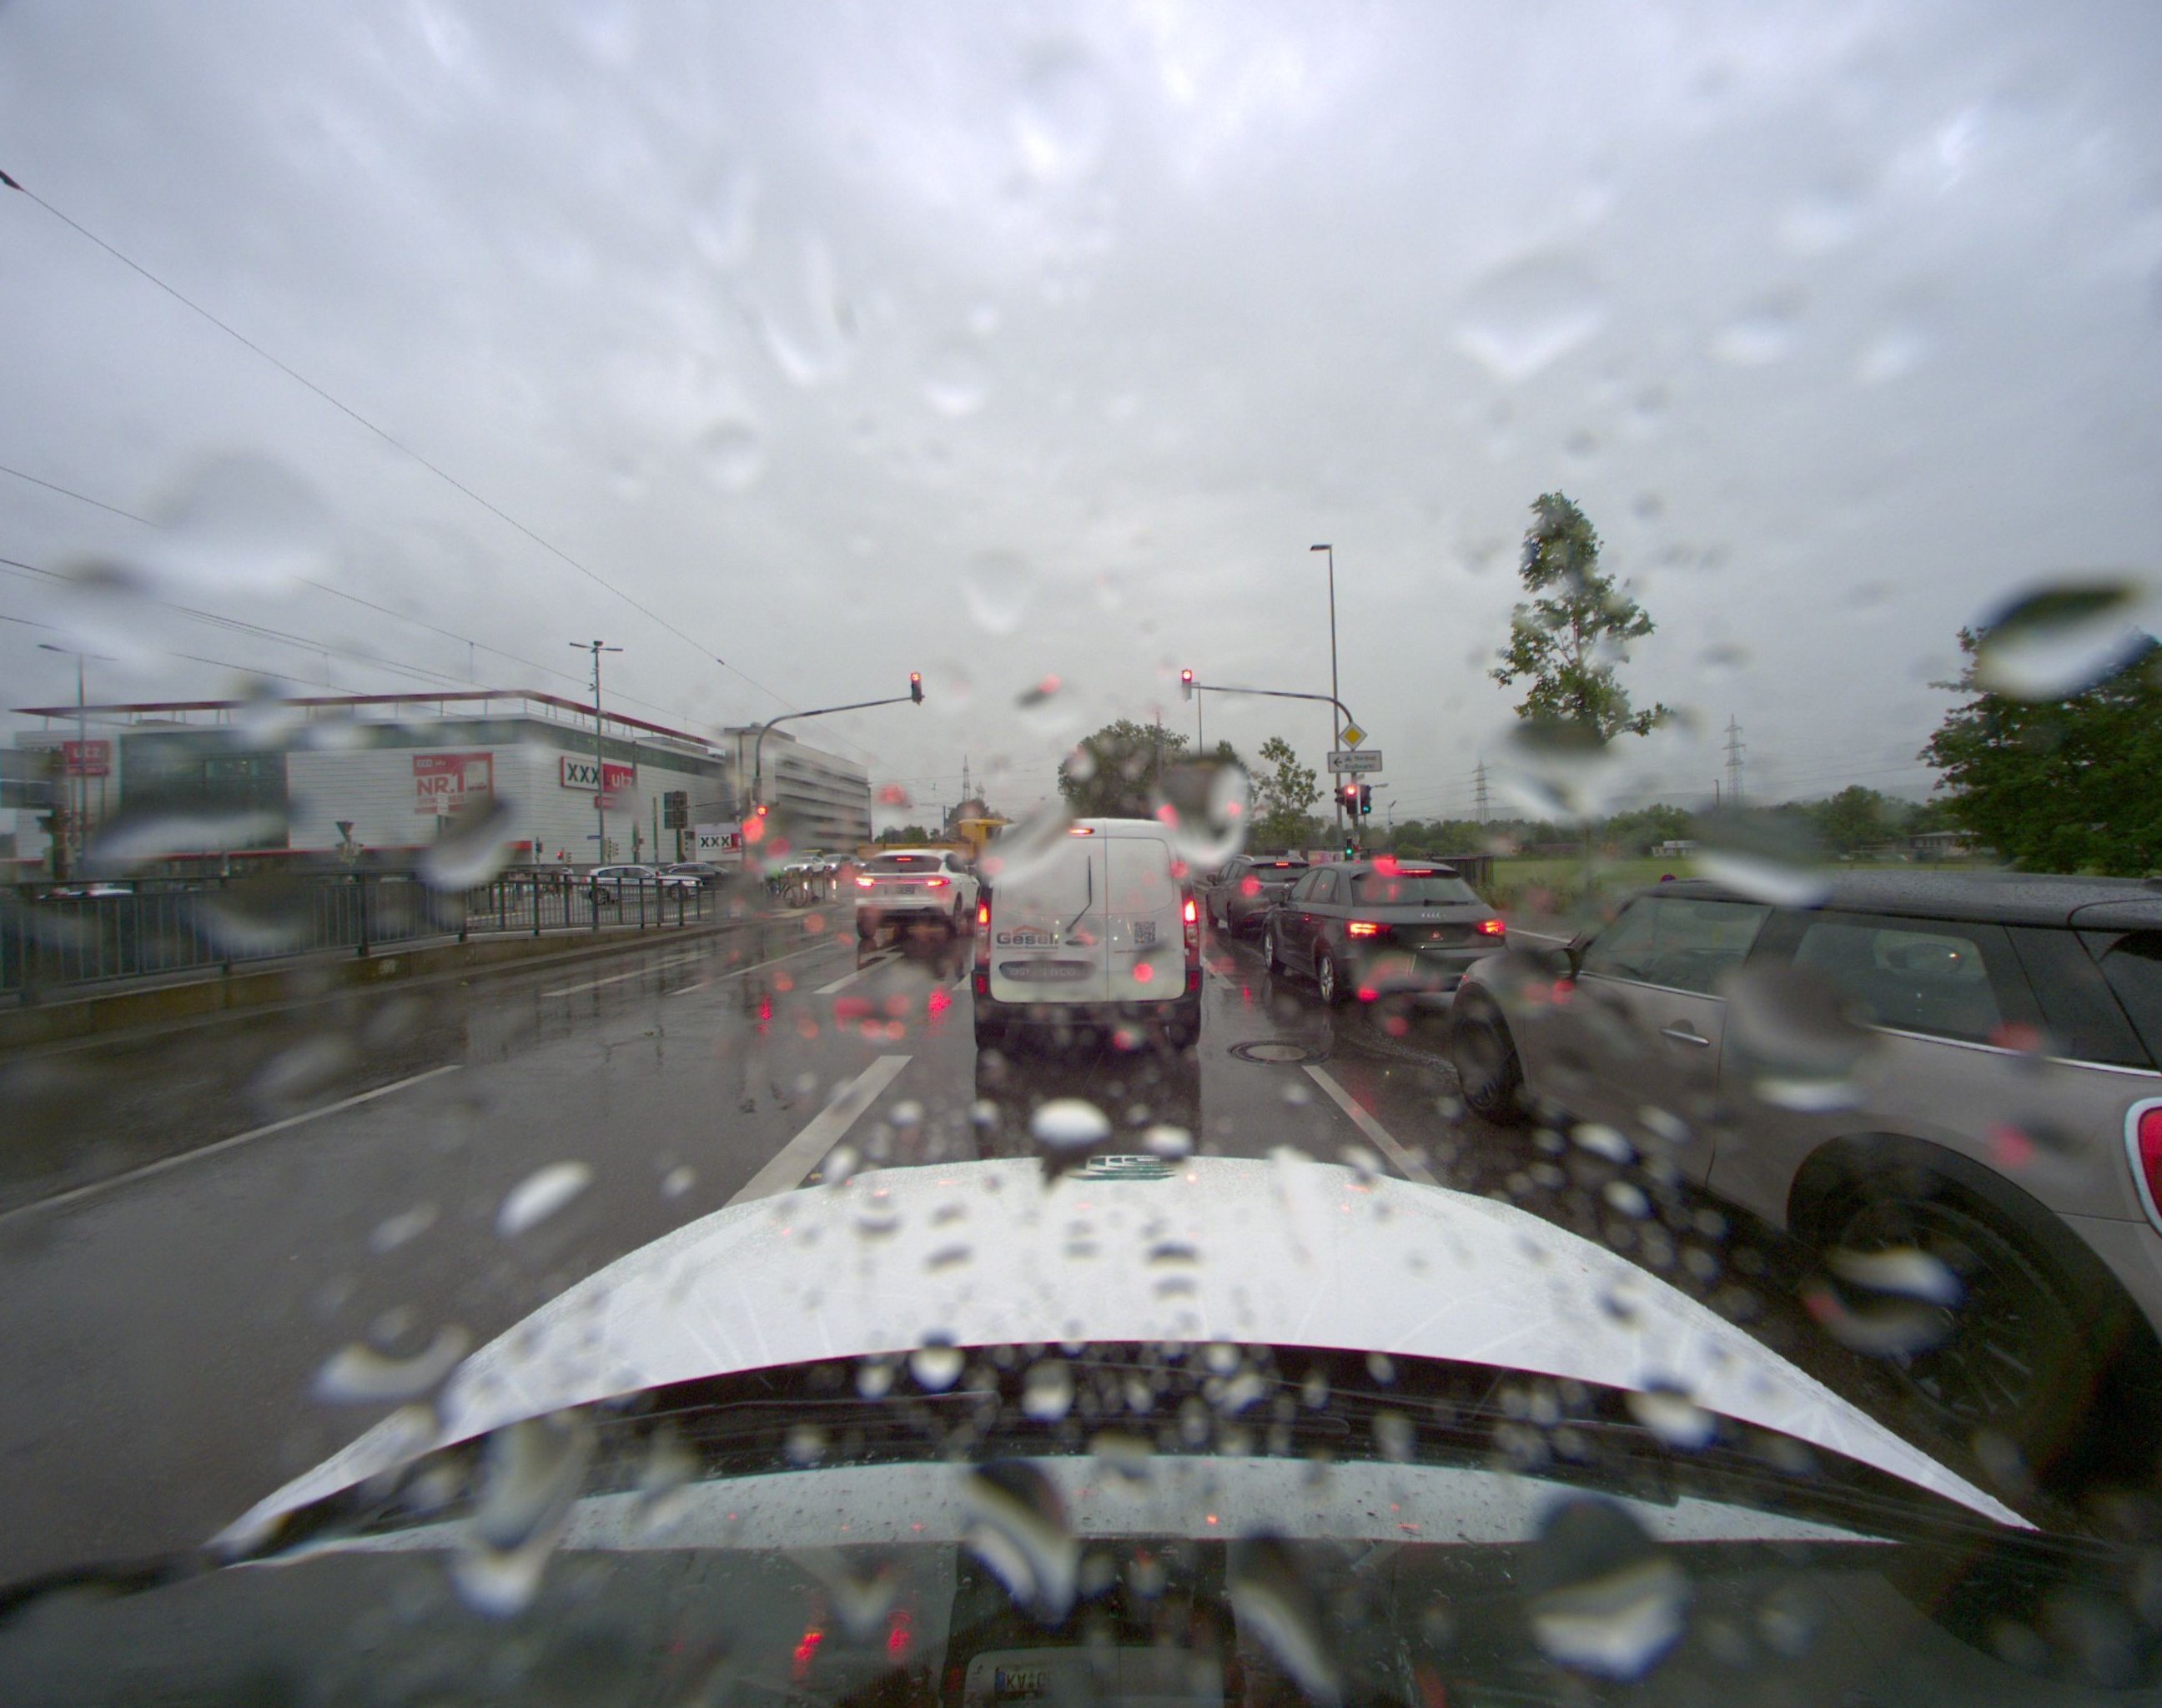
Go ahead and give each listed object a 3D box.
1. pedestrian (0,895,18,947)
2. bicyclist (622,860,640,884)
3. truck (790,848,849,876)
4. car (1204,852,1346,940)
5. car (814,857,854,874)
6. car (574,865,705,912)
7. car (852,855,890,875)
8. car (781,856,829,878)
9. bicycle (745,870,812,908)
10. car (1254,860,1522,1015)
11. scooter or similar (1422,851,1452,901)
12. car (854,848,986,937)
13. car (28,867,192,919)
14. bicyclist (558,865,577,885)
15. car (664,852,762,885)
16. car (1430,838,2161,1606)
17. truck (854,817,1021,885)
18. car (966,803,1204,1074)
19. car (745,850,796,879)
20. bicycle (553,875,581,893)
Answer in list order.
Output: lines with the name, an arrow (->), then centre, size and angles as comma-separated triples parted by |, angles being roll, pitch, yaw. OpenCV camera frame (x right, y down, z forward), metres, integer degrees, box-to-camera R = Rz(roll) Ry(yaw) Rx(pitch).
pedestrian -> -32.620, 2.021, 24.333 | 0.561, 1.537, 0.872 | 0, -1, 1
bicyclist -> -27.143, 1.075, 49.115 | 0.681, 1.464, 0.647 | 0, -1, 3
truck -> -22.676, 0.678, 71.045 | 2.342, 2.279, 7.637 | 0, 0, 2
car -> 3.526, 0.695, 15.512 | 1.853, 1.428, 3.808 | 0, 0, 1
car -> -19.297, 0.906, 63.744 | 1.579, 1.336, 3.837 | 0, -1, 6
car -> -16.616, 1.254, 30.834 | 4.072, 1.660, 1.612 | 0, -1, -15
car -> -18.280, 0.917, 70.961 | 1.883, 1.699, 4.006 | 0, -1, 6
car -> -19.523, 0.926, 57.751 | 1.689, 1.492, 3.884 | -1, -1, 7
bicycle -> -8.827, 1.026, 23.780 | 1.745, 1.034, 0.414 | 2, -1, 0
car -> 3.084, 0.749, 8.967 | 1.623, 1.344, 3.624 | 0, 0, 1
scooter or similar -> 8.463, 0.516, 19.396 | 0.244, 1.158, 1.187 | 0, -1, 3
car -> -3.051, 0.648, 16.336 | 1.723, 1.535, 4.298 | 0, 0, 1
car -> -39.436, 1.546, 33.162 | 4.298, 2.014, 2.001 | 0, -1, 1
bicyclist -> -28.817, 1.167, 45.708 | 0.681, 1.134, 0.647 | 0, -1, 3
car -> -16.558, 0.639, 36.818 | 3.735, 1.410, 1.832 | 0, -1, -13
car -> 2.997, 0.717, 3.239 | 1.707, 1.508, 3.624 | 0, 0, 1
truck -> -6.420, -0.122, 37.129 | 7.182, 2.816, 2.610 | 0, -1, -40
car -> 0.091, 0.576, 7.444 | 1.560, 1.788, 4.002 | -1, 0, 2
car -> -23.077, 0.773, 60.698 | 1.983, 2.014, 4.007 | 0, -1, 6
bicycle -> -28.800, 1.668, 45.667 | 0.448, 0.987, 1.710 | 0, -1, 3
